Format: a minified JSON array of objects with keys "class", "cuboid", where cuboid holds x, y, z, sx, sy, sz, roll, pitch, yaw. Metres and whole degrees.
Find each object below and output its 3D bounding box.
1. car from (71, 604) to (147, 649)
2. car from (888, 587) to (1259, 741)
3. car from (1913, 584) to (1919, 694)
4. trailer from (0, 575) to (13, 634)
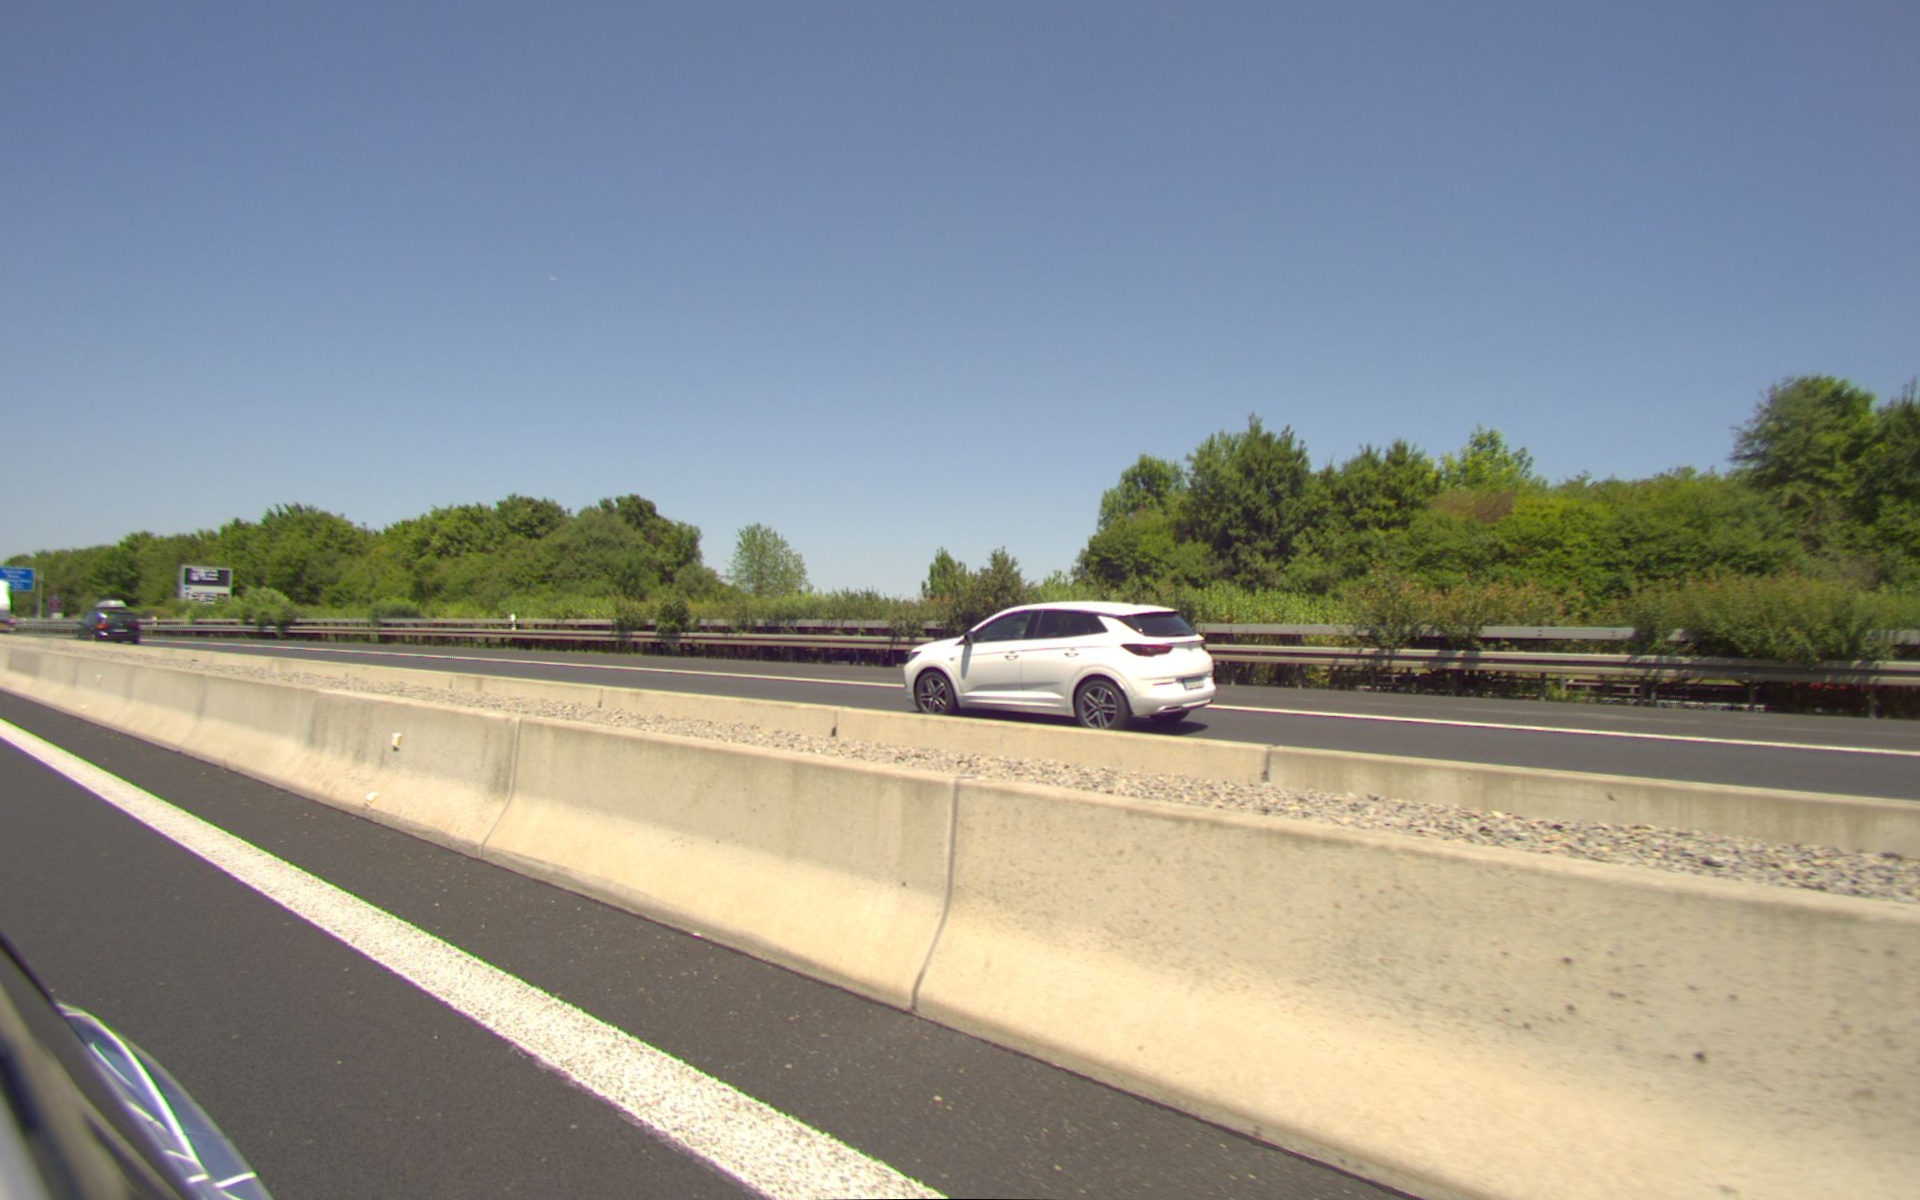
[{"class":"car","cuboid":[-41.130,1.257,48.873,4.699,2.097,1.974,-1,-1,39]},{"class":"car","cuboid":[1.341,0.717,13.317,4.662,1.678,1.849,0,-1,42]},{"class":"car","cuboid":[17.895,0.637,15.597,4.422,1.871,1.975,-1,-2,37]},{"class":"trailer","cuboid":[-76.594,0.373,78.470,12.805,4.345,2.692,0,-1,38]}]
